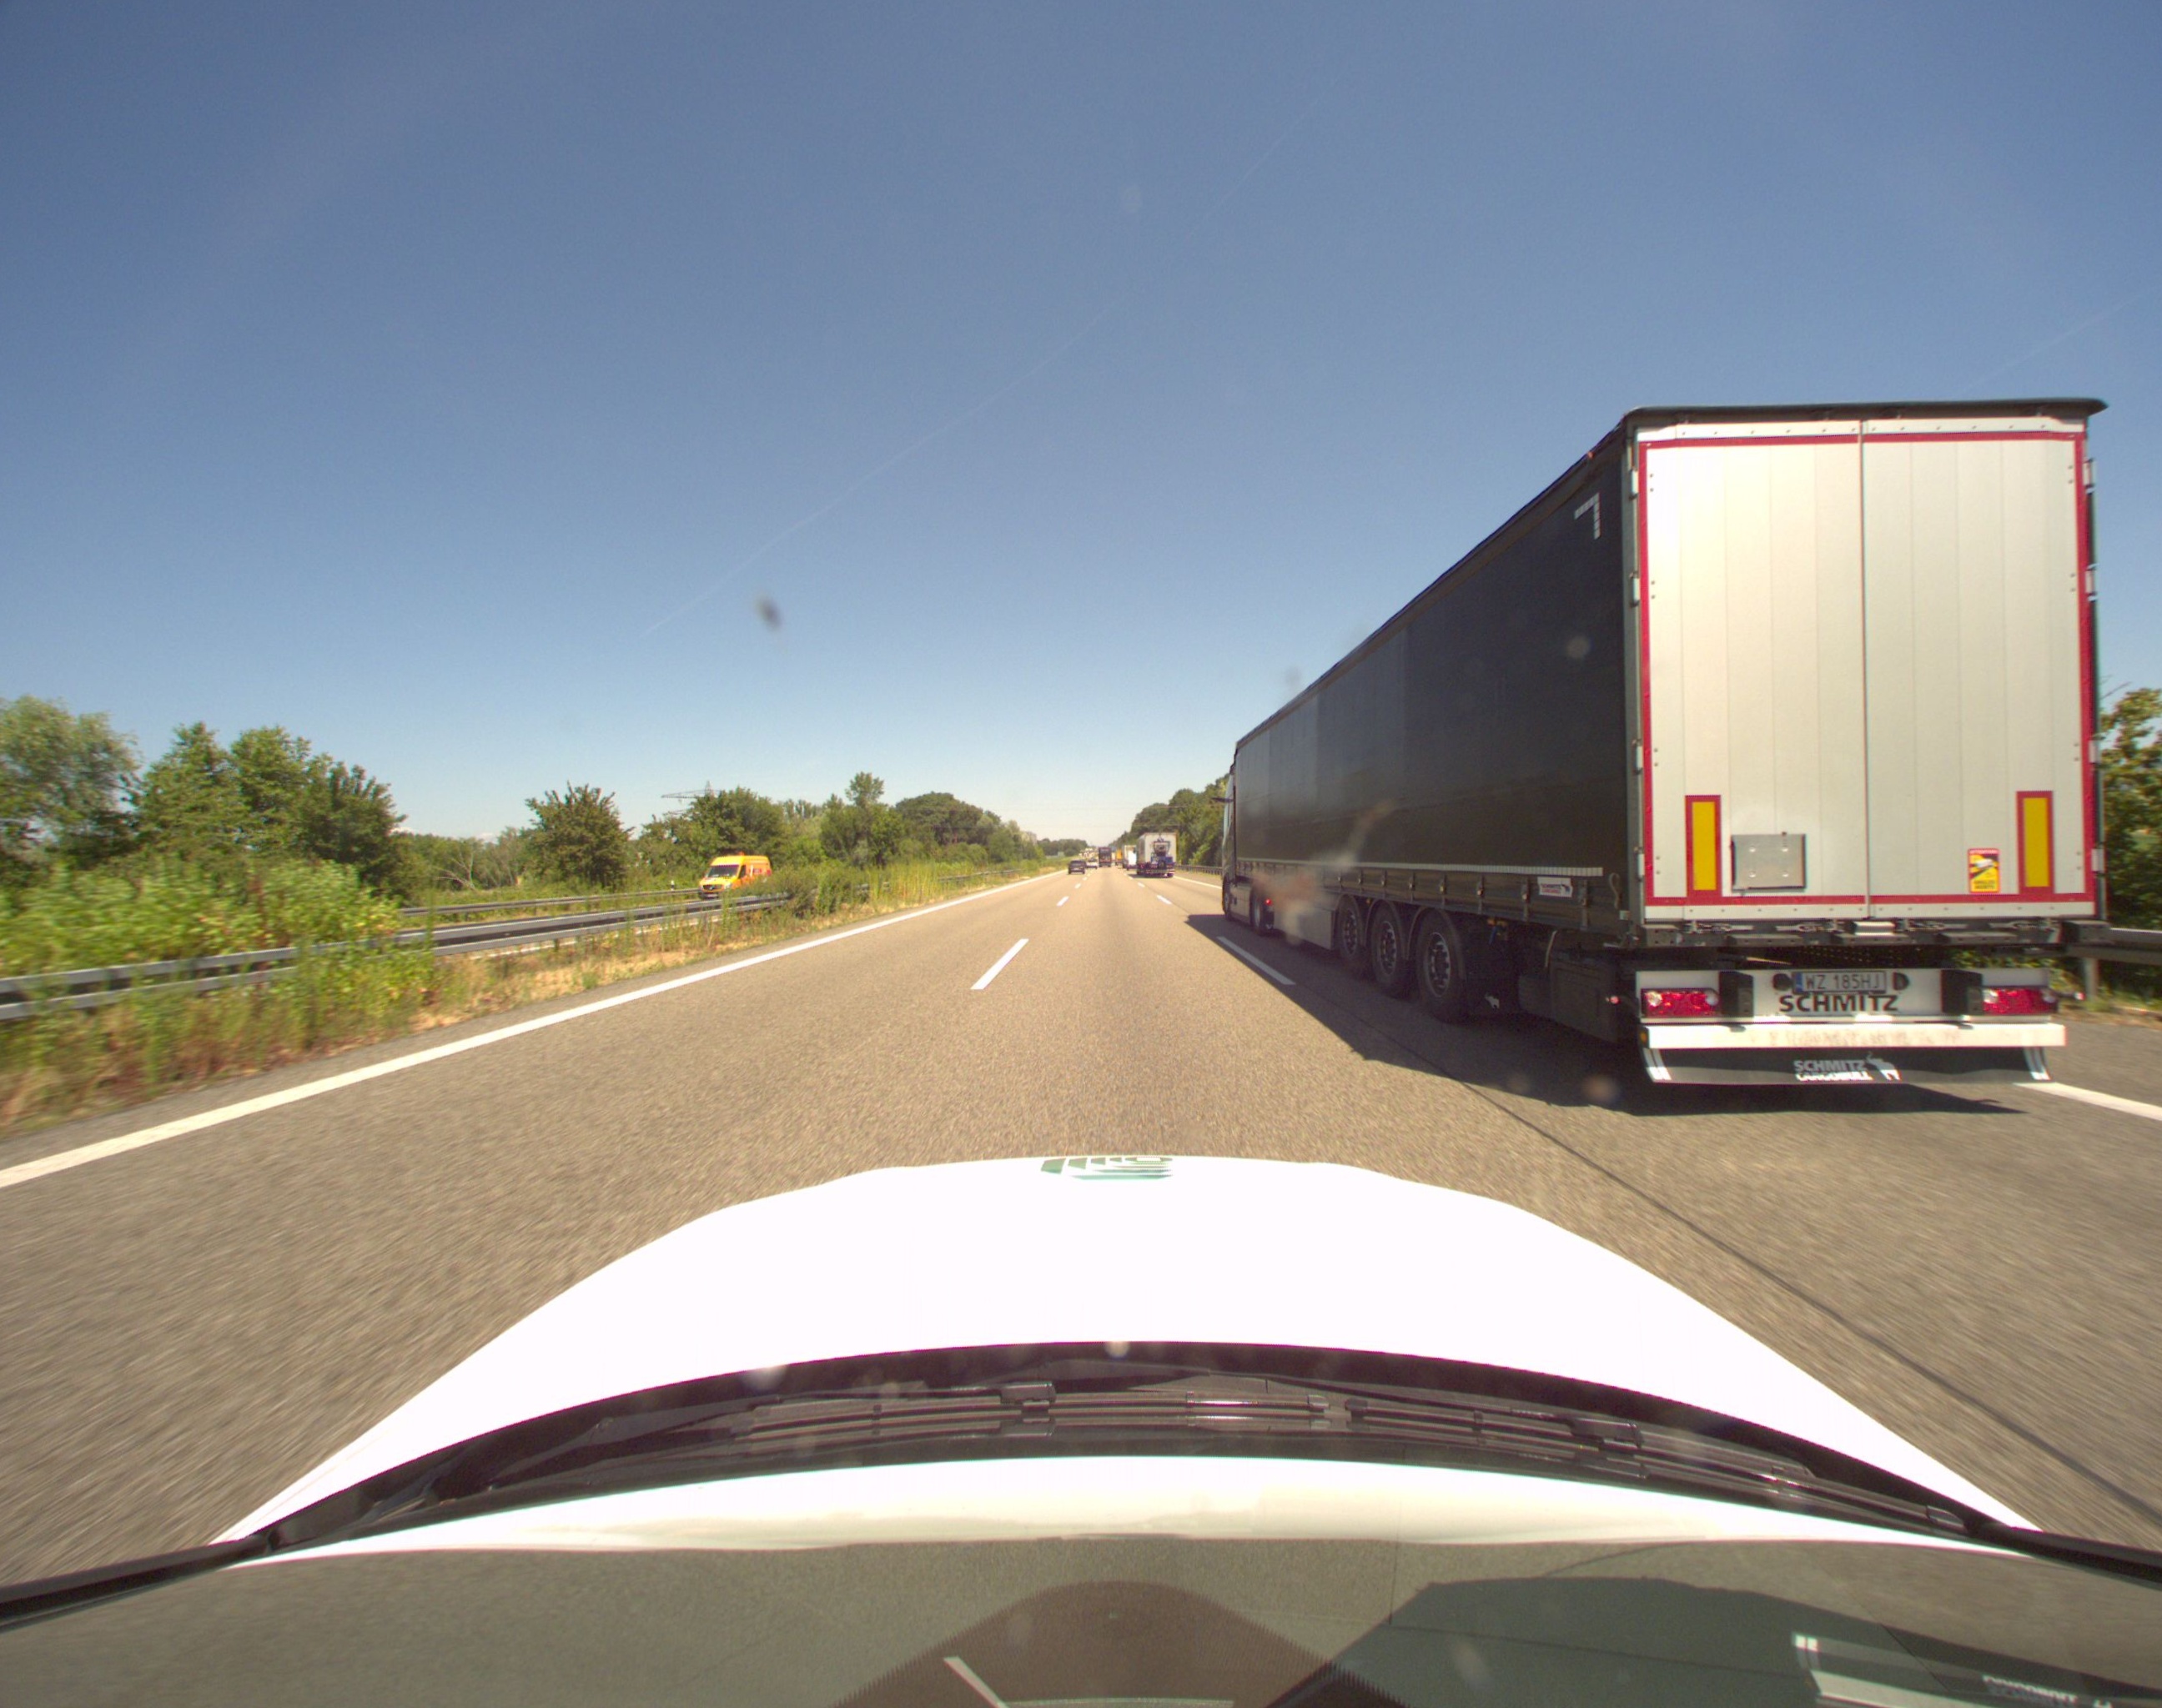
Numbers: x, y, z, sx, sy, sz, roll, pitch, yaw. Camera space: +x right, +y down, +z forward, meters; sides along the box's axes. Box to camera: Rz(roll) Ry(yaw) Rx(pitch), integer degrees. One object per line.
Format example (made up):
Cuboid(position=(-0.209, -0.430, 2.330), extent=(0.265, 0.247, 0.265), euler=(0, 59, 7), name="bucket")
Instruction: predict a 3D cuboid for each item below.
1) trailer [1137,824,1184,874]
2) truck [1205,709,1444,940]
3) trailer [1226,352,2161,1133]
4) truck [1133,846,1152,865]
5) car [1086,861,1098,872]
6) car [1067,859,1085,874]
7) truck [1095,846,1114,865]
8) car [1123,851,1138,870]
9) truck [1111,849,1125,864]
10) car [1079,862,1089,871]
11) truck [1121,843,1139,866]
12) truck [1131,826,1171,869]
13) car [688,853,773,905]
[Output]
Cuboid(position=(6.589, -0.461, 68.852), extent=(3.112, 3.926, 9.937), euler=(0, 1, 1), name="trailer")
Cuboid(position=(4.921, -0.503, 18.178), extent=(3.451, 4.177, 6.846), euler=(0, -1, 2), name="truck")
Cuboid(position=(4.702, -0.586, 11.190), extent=(3.421, 4.181, 13.638), euler=(0, 0, 2), name="trailer")
Cuboid(position=(12.187, 0.246, 162.149), extent=(3.653, 3.725, 7.113), euler=(0, 1, 3), name="truck")
Cuboid(position=(1.797, 2.045, 134.116), extent=(1.893, 1.531, 4.086), euler=(0, 1, 2), name="car")
Cuboid(position=(-0.510, 1.376, 89.503), extent=(1.753, 1.531, 4.287), euler=(0, 1, 2), name="car")
Cuboid(position=(4.676, 0.281, 162.212), extent=(3.653, 3.725, 7.113), euler=(0, 1, 3), name="truck")
Cuboid(position=(6.695, 0.851, 110.255), extent=(1.900, 2.425, 4.287), euler=(0, 1, 2), name="car")
Cuboid(position=(9.234, 0.645, 202.288), extent=(3.475, 3.725, 7.113), euler=(0, 1, 3), name="truck")
Cuboid(position=(0.586, 2.370, 153.945), extent=(1.893, 1.531, 4.086), euler=(0, 1, 2), name="car")
Cuboid(position=(8.180, 0.096, 136.325), extent=(2.781, 3.725, 7.113), euler=(0, 1, 3), name="truck")
Cuboid(position=(6.679, -0.627, 78.851), extent=(3.047, 3.879, 10.033), euler=(0, 1, 0), name="truck")
Cuboid(position=(-19.572, 1.318, 45.851), extent=(2.096, 2.557, 6.183), euler=(-2, 1, -1), name="car")
